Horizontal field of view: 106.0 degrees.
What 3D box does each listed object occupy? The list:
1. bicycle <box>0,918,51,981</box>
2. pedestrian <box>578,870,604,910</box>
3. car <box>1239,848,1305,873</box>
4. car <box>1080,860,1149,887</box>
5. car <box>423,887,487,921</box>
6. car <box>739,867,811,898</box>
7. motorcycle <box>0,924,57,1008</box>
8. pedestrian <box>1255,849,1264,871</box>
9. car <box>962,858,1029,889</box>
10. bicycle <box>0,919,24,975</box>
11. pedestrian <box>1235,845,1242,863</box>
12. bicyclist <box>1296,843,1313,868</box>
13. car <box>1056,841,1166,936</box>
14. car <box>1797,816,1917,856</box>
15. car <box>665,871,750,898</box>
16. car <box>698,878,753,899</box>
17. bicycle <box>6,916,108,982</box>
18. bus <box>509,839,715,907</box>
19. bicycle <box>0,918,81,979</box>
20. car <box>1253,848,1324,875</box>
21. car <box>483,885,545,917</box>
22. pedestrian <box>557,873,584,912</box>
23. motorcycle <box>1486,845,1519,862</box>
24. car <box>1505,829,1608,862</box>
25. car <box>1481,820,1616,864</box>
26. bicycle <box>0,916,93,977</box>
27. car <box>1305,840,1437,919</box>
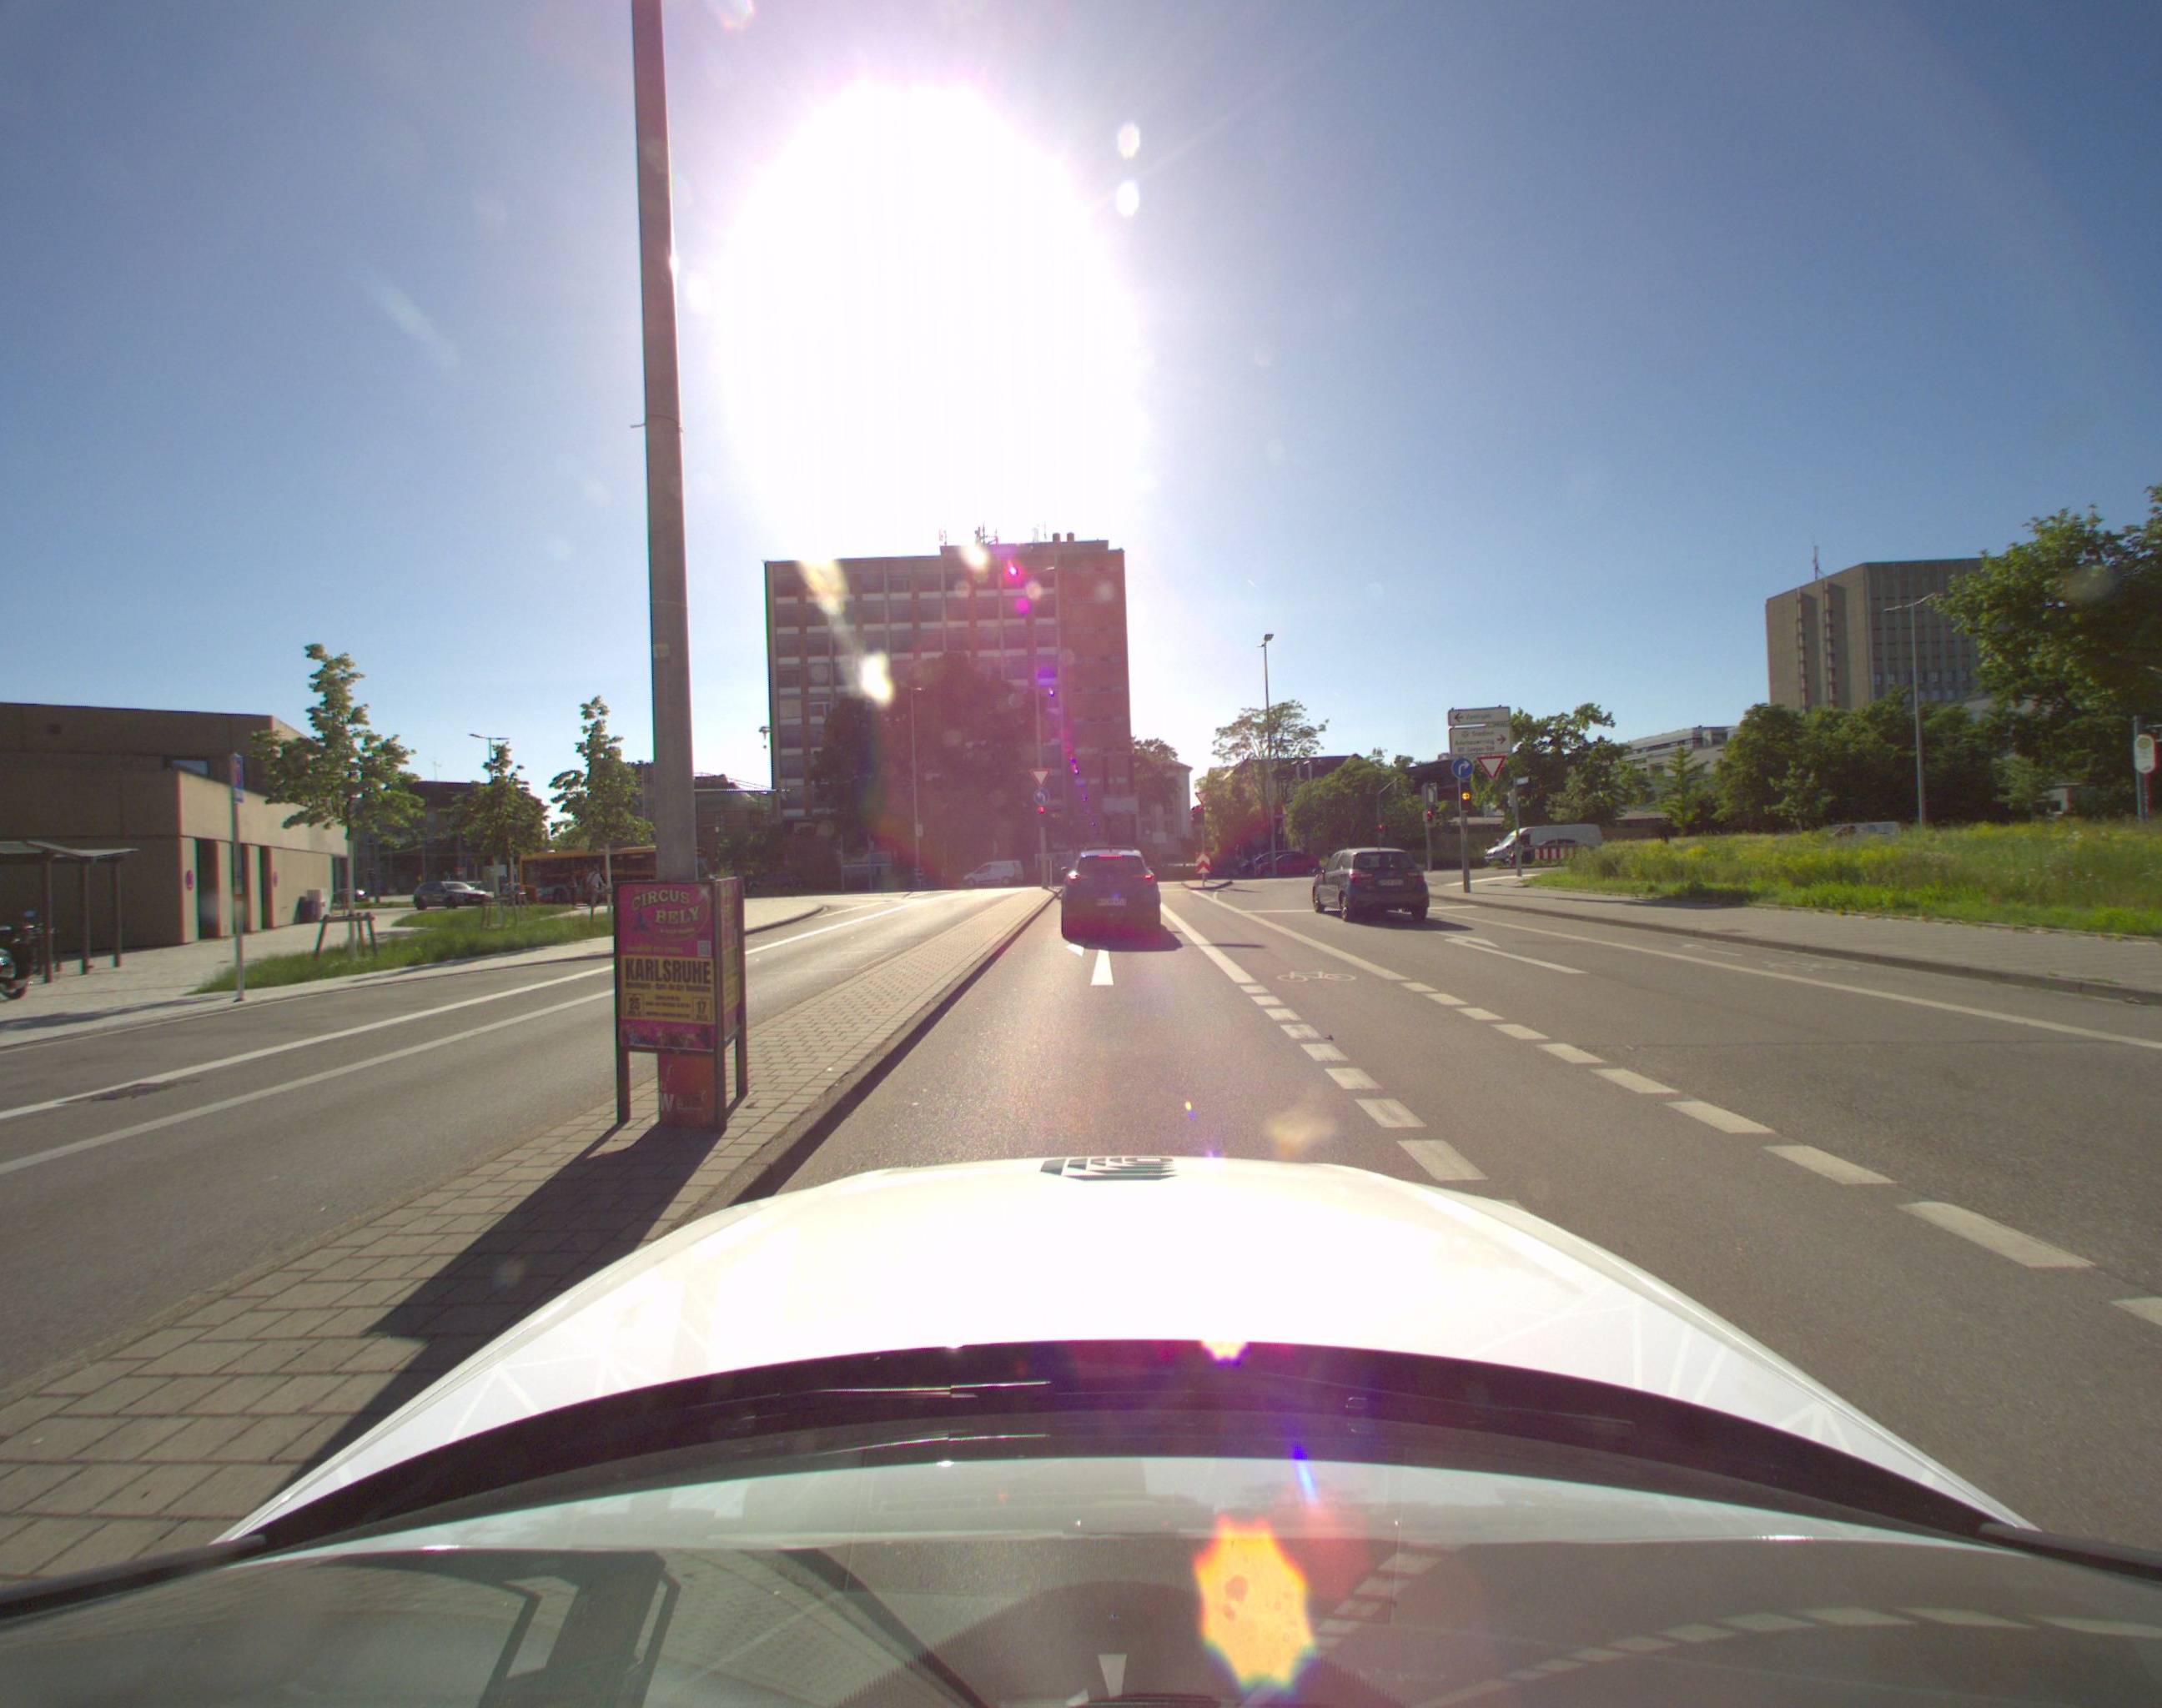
[{"bbox_3d":[-19.982,1.767,15.025,0.584,1.088,1.852,0,-2,-31],"label":"bicycle"},{"bbox_3d":[-21.987,1.614,36.535,0.620,1.741,0.791,-2,-2,17],"label":"pedestrian"},{"bbox_3d":[12.223,0.407,52.401,3.964,1.464,2.005,-2,0,8],"label":"car"},{"bbox_3d":[2.179,1.271,52.326,4.086,1.586,1.886,-2,-2,12],"label":"car"},{"bbox_3d":[-39.663,3.181,51.595,3.948,2.014,2.024,-3,-2,33],"label":"car"},{"bbox_3d":[-21.468,2.015,57.196,4.341,2.014,2.007,-2,-2,14],"label":"car"},{"bbox_3d":[-16.514,1.701,12.489,0.555,1.177,1.899,0,-2,-37],"label":"motorcycle"},{"bbox_3d":[13.313,0.451,60.784,0.556,1.670,0.478,-2,-2,16],"label":"pedestrian"},{"bbox_3d":[-6.089,1.396,58.213,4.318,2.014,2.007,-2,-2,12],"label":"car"},{"bbox_3d":[-21.924,1.883,16.099,0.584,1.088,1.853,-1,-2,-31],"label":"bicycle"},{"bbox_3d":[14.497,-0.016,75.059,0.573,1.670,0.564,-2,-2,11],"label":"pedestrian"},{"bbox_3d":[16.794,0.142,61.283,0.856,1.846,0.848,0,-3,-43],"label":"bicyclist"},{"bbox_3d":[0.466,0.605,15.814,1.819,1.600,3.654,-1,-1,-3],"label":"car"},{"bbox_3d":[47.496,-1.081,49.957,5.063,2.225,2.078,-2,0,6],"label":"car"},{"bbox_3d":[-22.240,1.812,48.530,4.361,1.522,1.979,-2,-2,18],"label":"car"},{"bbox_3d":[-28.914,2.779,66.201,3.862,1.586,1.889,-2,-2,21],"label":"car"},{"bbox_3d":[-19.269,1.756,15.373,0.584,1.088,1.852,0,-2,-31],"label":"bicycle"},{"bbox_3d":[-27.013,1.154,46.727,12.302,3.396,2.896,-2,-2,19],"label":"bus"},{"bbox_3d":[-21.067,1.882,16.385,0.584,1.088,1.852,0,-2,-31],"label":"bicycle"},{"bbox_3d":[12.417,0.451,48.957,3.964,1.464,2.005,-2,-1,8],"label":"car"},{"bbox_3d":[-37.894,3.110,54.406,3.948,2.014,2.024,-3,-2,33],"label":"car"},{"bbox_3d":[-23.741,1.778,37.870,0.648,1.741,0.791,-2,-2,17],"label":"pedestrian"},{"bbox_3d":[30.423,-0.046,58.744,2.030,1.136,0.674,-2,-2,23],"label":"motorcycle"},{"bbox_3d":[28.070,-0.471,48.195,4.827,1.746,2.078,-2,0,6],"label":"car"},{"bbox_3d":[29.415,-0.751,51.440,7.116,2.423,2.078,-2,0,6],"label":"car"},{"bbox_3d":[-21.110,1.851,16.623,0.584,1.088,1.853,-1,-2,-31],"label":"bicycle"},{"bbox_3d":[6.259,0.539,18.016,1.749,1.542,3.661,-1,-1,3],"label":"car"}]
